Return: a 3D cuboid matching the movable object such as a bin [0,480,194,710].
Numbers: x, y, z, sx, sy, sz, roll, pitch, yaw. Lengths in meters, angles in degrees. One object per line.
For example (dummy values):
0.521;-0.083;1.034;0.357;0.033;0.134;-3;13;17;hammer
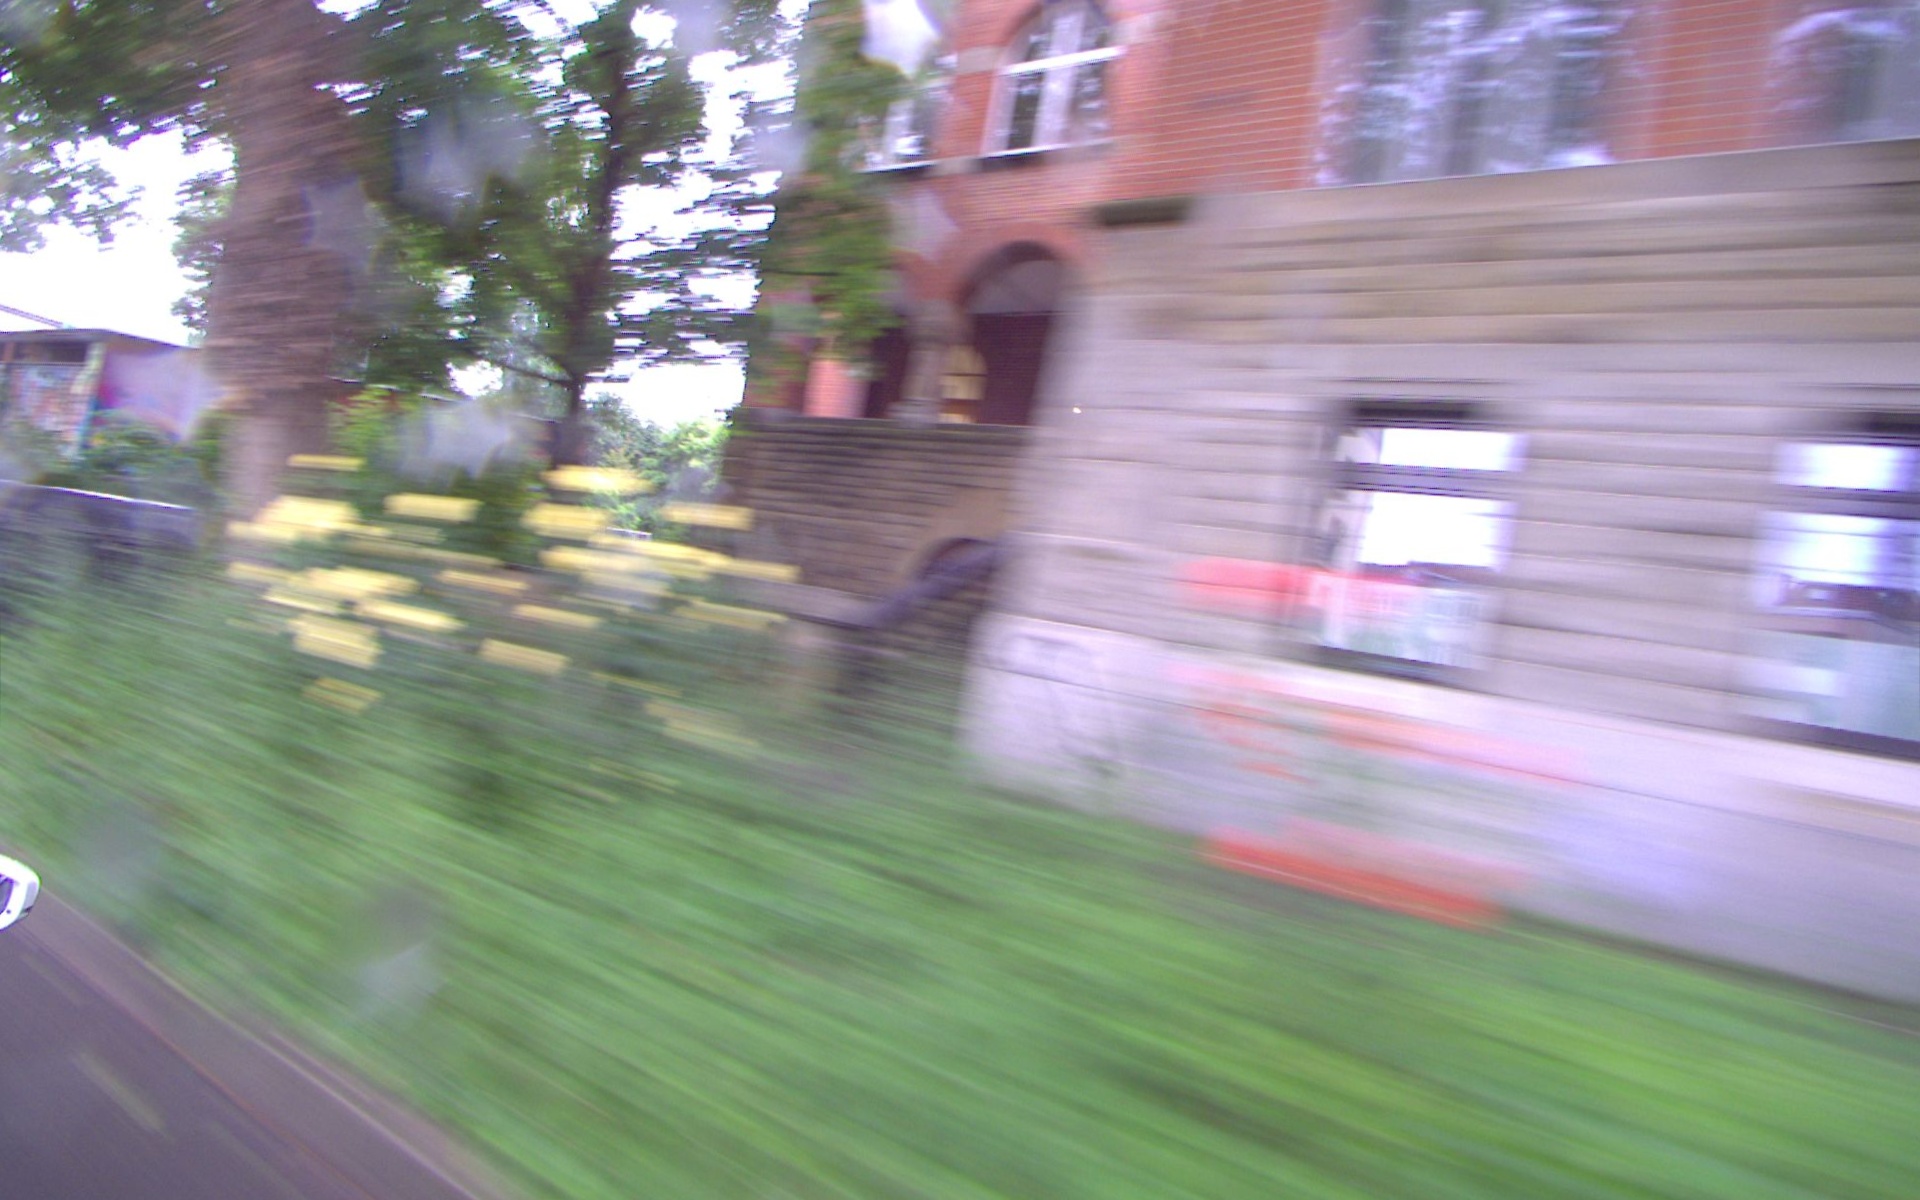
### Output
-6.586;-0.064;7.317;1.396;1.470;1.202;8;0;-42;movable object such as a bin
